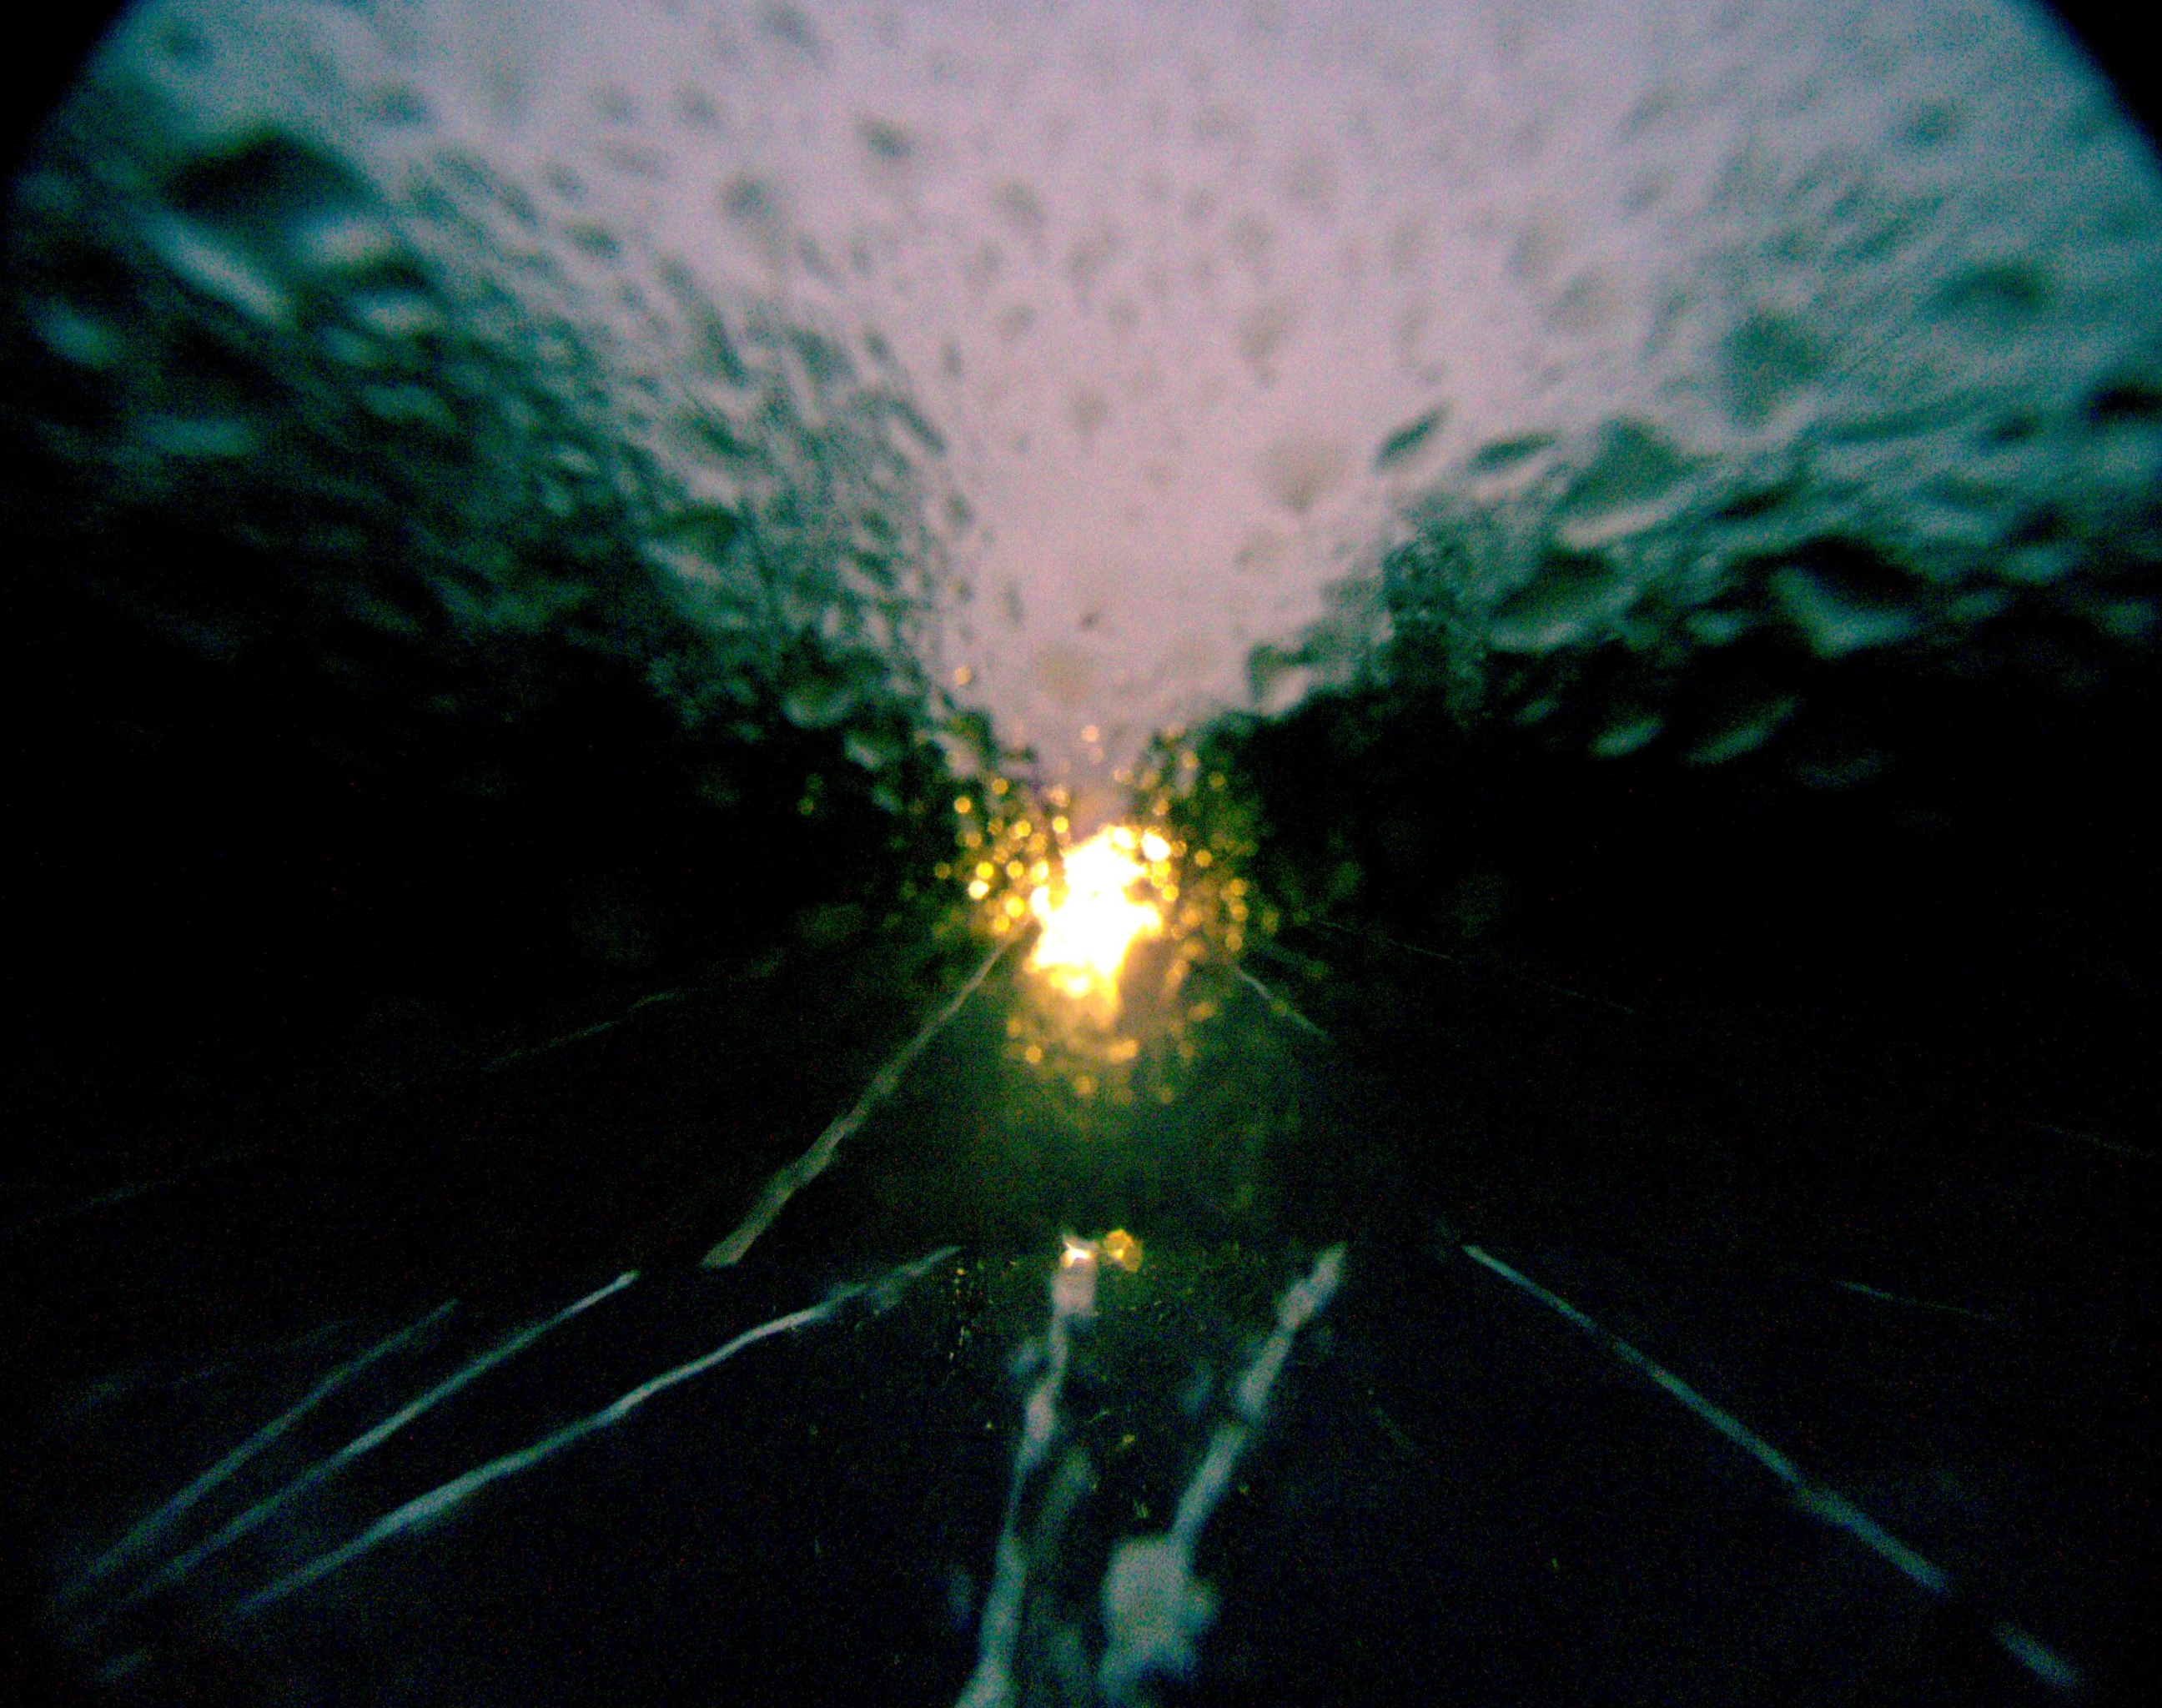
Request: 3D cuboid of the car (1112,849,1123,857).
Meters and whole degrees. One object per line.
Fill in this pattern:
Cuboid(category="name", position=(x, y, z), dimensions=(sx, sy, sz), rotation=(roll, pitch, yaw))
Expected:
Cuboid(category="car", position=(6.073, -0.173, 125.462), dimensions=(1.623, 1.381, 4.071), rotation=(0, 0, 0))

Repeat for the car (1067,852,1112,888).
Cuboid(category="car", position=(0.393, 0.651, 32.924), dimensions=(1.845, 1.390, 4.000), rotation=(-1, 1, 1))

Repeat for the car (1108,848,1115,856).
Cuboid(category="car", position=(7.472, -0.421, 185.415), dimensions=(1.710, 1.812, 4.285), rotation=(-1, 1, 1))
